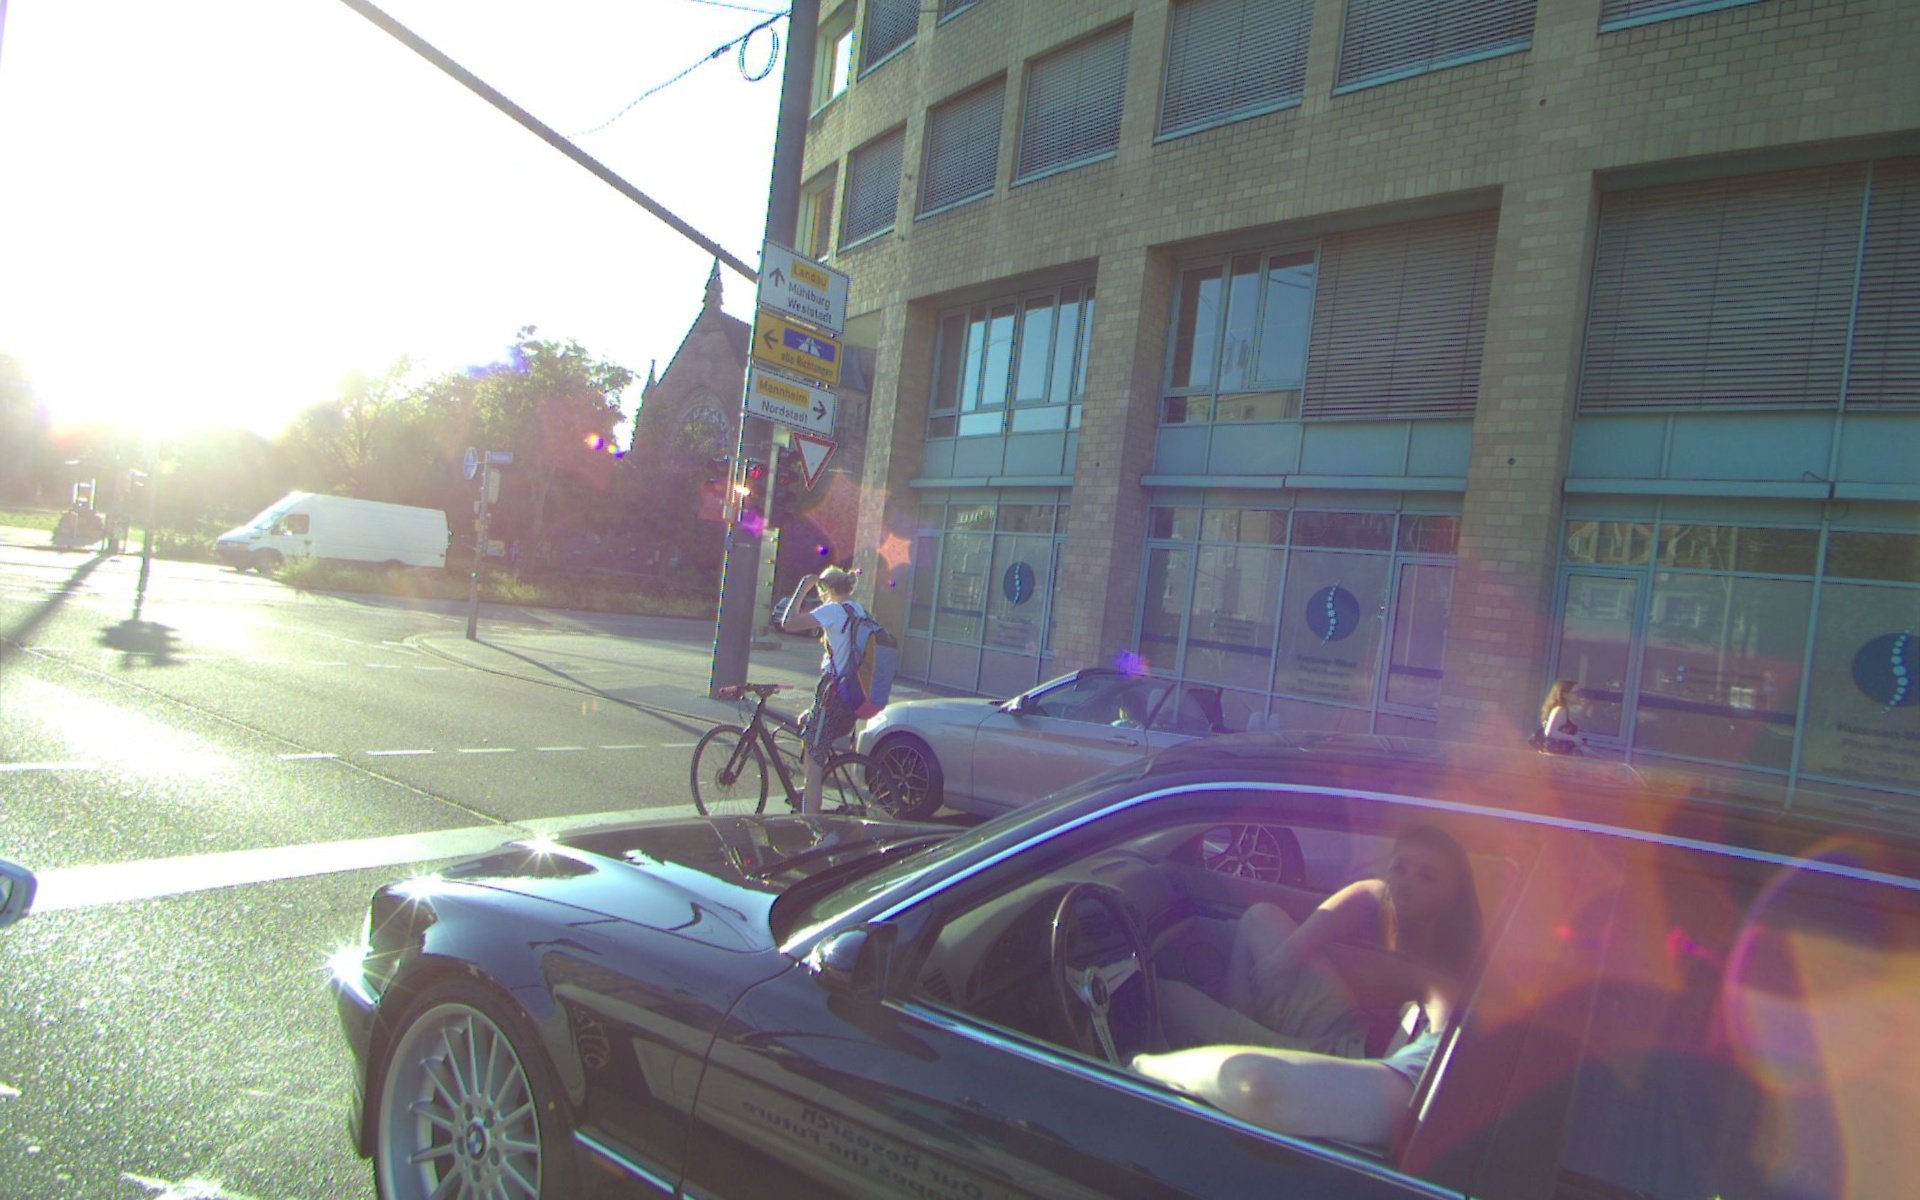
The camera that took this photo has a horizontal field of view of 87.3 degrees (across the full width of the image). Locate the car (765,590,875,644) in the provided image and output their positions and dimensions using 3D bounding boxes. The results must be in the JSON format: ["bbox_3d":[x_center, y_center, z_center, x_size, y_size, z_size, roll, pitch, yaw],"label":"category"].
[{"bbox_3d":[-5.234,0.670,38.019,1.691,1.451,3.990,9,-1,36],"label":"car"}]

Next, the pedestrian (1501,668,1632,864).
[{"bbox_3d":[5.471,1.462,9.134,0.786,1.589,0.678,9,2,29],"label":"pedestrian"}]

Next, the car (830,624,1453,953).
[{"bbox_3d":[1.283,1.196,7.675,4.195,1.370,1.786,8,0,31],"label":"car"}]

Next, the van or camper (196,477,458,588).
[{"bbox_3d":[-21.471,-2.199,34.575,2.556,2.708,7.048,9,1,33],"label":"van or camper"}]

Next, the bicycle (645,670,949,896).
[{"bbox_3d":[-0.997,1.021,5.961,1.745,0.966,0.516,6,-1,30],"label":"bicycle"}]

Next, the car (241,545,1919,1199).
[{"bbox_3d":[0.846,0.902,1.906,4.563,1.370,1.833,8,0,31],"label":"car"}]

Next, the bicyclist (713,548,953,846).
[{"bbox_3d":[-0.730,0.528,5.835,1.020,1.501,0.657,7,-1,29],"label":"bicyclist"}]
